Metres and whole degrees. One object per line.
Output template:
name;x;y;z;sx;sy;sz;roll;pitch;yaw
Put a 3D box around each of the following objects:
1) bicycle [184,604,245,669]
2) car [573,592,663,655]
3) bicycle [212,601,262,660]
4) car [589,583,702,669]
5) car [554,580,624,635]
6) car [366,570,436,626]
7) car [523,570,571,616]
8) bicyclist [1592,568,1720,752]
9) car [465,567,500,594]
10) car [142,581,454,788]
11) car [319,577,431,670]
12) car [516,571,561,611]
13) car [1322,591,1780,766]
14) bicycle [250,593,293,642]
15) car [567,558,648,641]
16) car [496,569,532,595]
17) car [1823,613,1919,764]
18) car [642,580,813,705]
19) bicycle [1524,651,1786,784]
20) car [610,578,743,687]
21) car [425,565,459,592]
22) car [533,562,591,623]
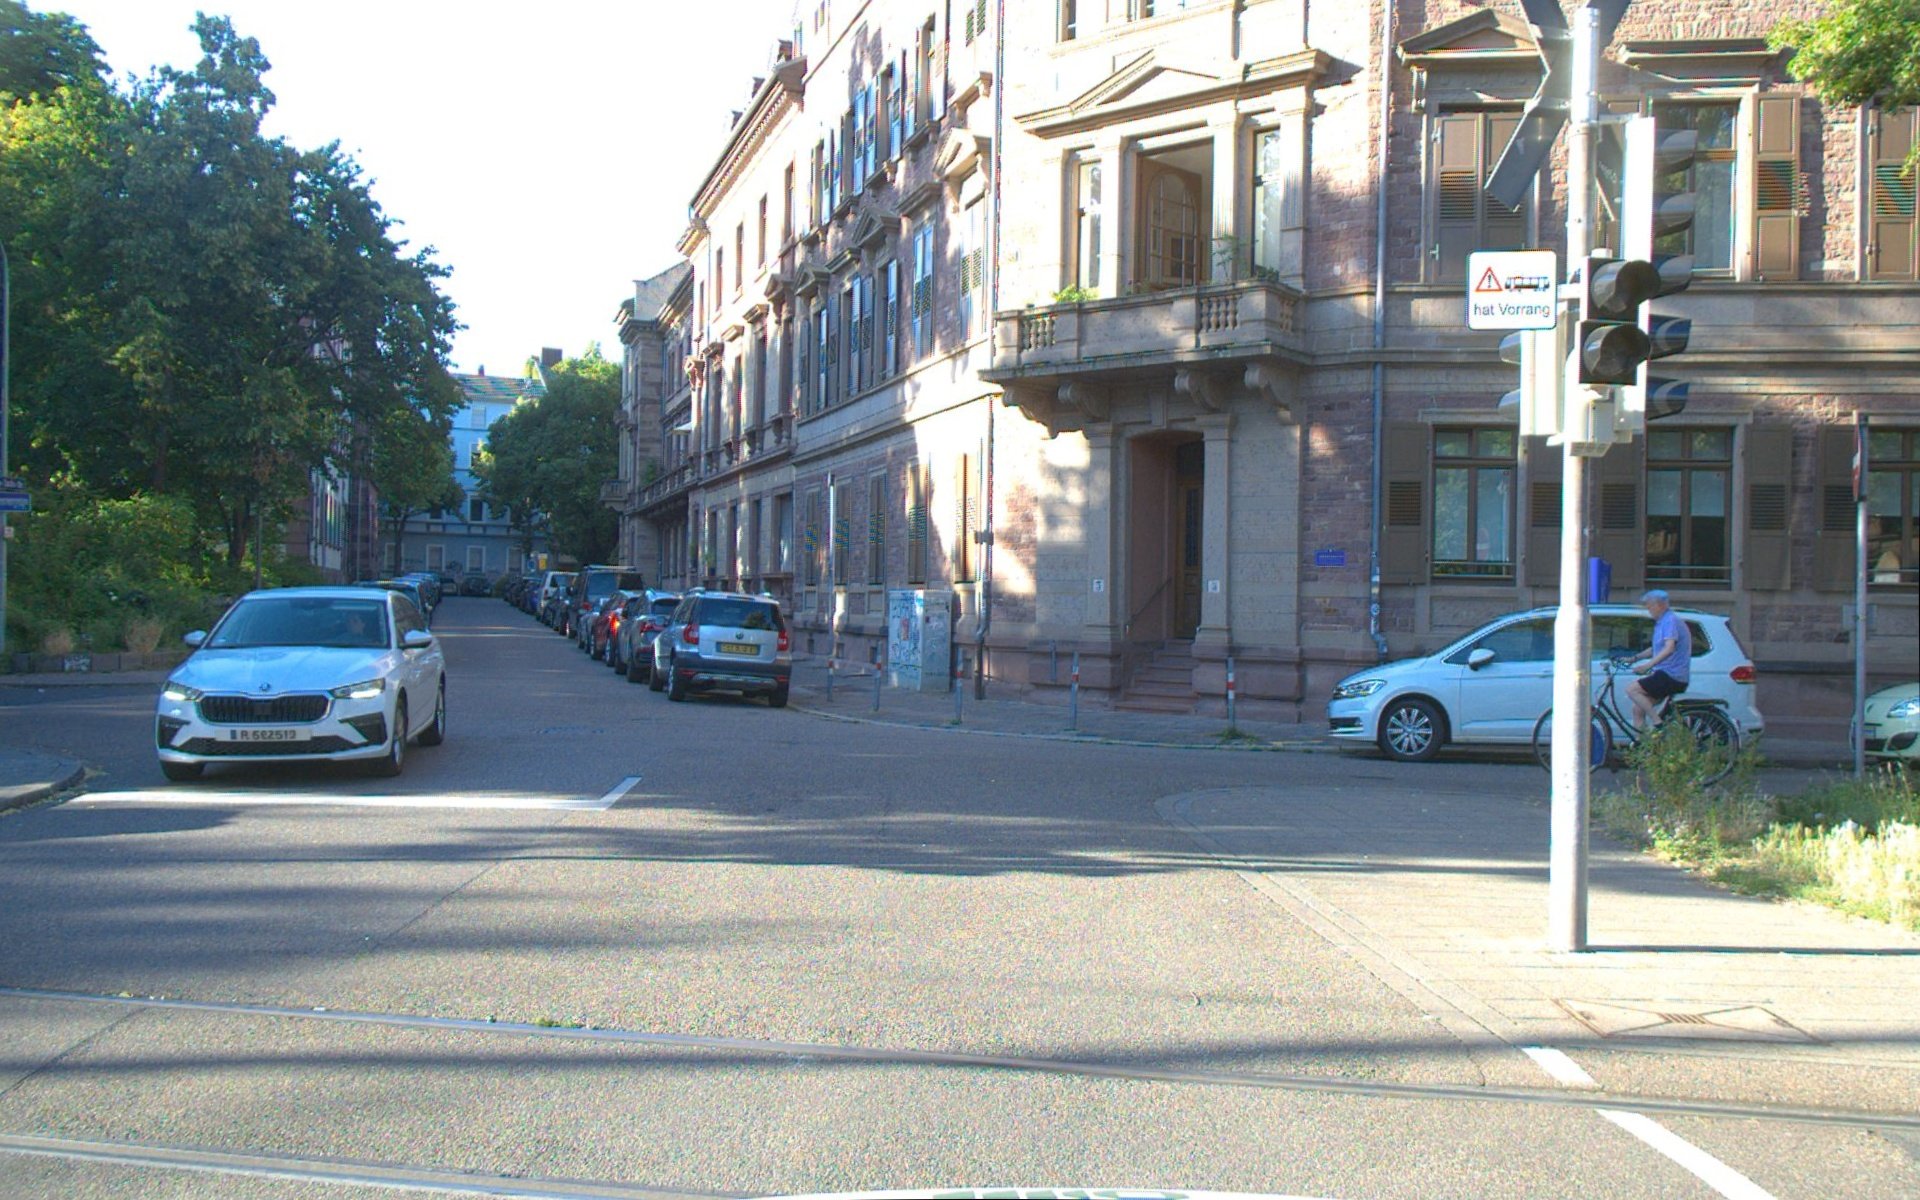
bicycle;-13.796;0.659;30.666;0.587;1.120;2.617;1;0;-15
car;-8.562;0.557;41.158;1.769;1.368;3.936;4;-1;-17
bicycle;-14.529;0.595;33.273;0.587;1.120;2.615;1;0;-17
car;-6.823;0.515;35.604;1.771;1.642;3.933;4;-1;-19
car;-11.585;0.209;51.500;1.769;1.550;3.936;4;-1;-17
car;-17.299;-0.075;51.328;1.797;1.526;3.913;4;-1;-17
car;-18.283;-0.329;73.172;1.769;1.871;3.936;4;-1;-17
bicyclist;6.396;0.540;15.233;0.853;1.616;0.701;2;0;5
car;-34.672;-1.399;120.110;1.966;1.713;3.972;2;-2;-23
car;-5.413;0.595;14.032;1.671;1.482;4.052;1;0;-11
car;-11.764;0.434;33.503;1.797;1.643;4.272;4;-1;-17
car;-19.907;-0.425;78.087;1.769;1.758;3.936;4;-1;-17
car;6.235;0.830;17.927;4.387;1.678;1.876;1;-2;9
bicycle;-16.421;0.391;39.476;0.587;1.120;2.616;1;0;-15
car;-9.884;-0.026;46.178;1.769;2.108;3.936;4;-1;-17
car;-32.620;-1.299;120.923;1.966;1.713;3.972;2;-2;-23
car;11.279;0.958;17.292;3.633;1.516;1.743;1;-2;7
car;-3.720;0.620;25.845;1.886;1.685;4.166;4;-1;-17
bicycle;6.368;1.062;15.231;2.072;1.072;0.701;2;0;5
car;-5.334;0.548;30.677;1.797;1.753;4.523;4;-1;-16
car;-37.255;-1.531;118.886;1.966;1.713;3.972;2;-2;-23
car;-14.996;-0.291;62.238;1.769;2.108;3.936;4;-1;-17
